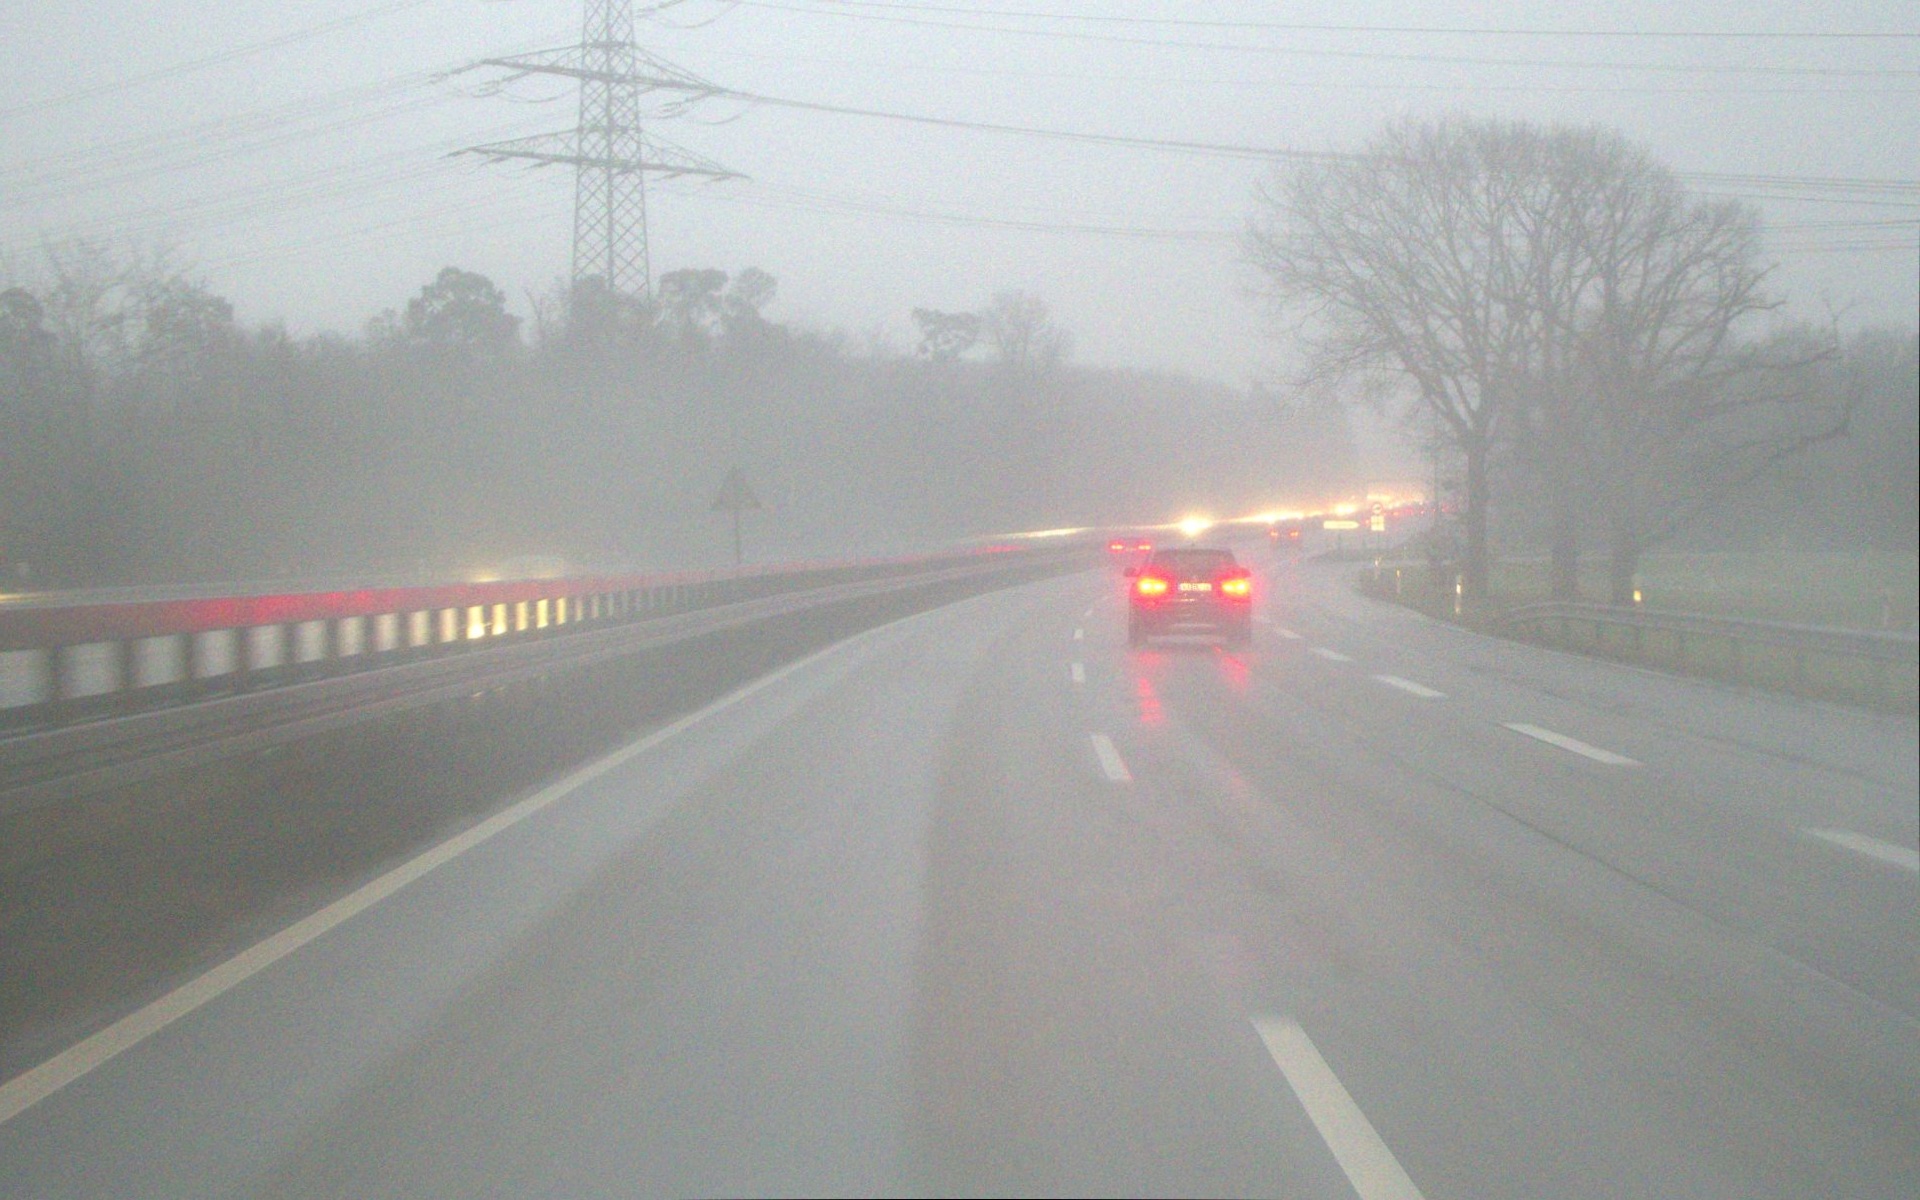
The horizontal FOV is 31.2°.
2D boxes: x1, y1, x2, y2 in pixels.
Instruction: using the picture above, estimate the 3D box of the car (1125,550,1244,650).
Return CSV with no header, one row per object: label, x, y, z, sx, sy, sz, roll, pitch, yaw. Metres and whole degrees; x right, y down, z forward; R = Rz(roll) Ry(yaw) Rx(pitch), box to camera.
car,3.693,-0.026,56.135,1.678,1.503,3.808,0,2,8
